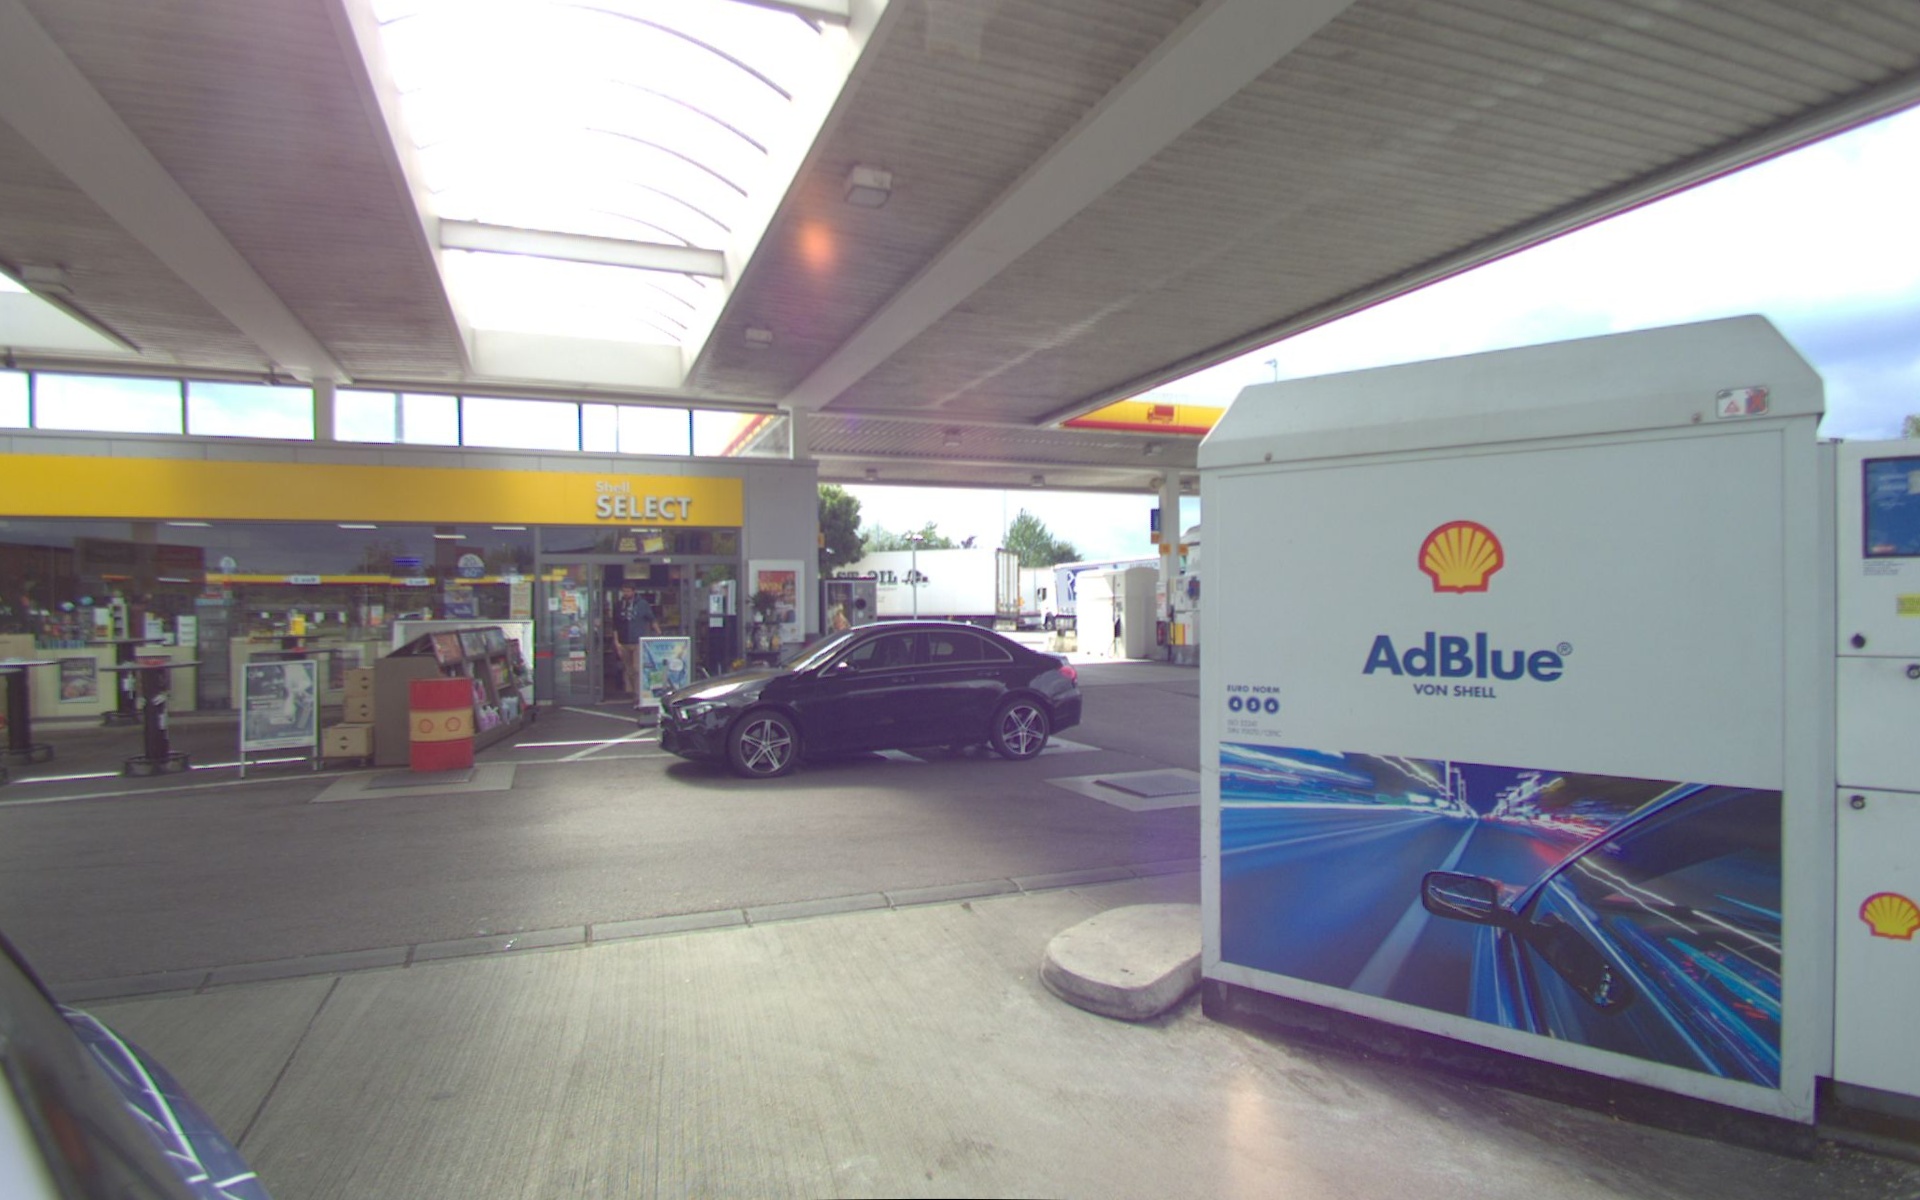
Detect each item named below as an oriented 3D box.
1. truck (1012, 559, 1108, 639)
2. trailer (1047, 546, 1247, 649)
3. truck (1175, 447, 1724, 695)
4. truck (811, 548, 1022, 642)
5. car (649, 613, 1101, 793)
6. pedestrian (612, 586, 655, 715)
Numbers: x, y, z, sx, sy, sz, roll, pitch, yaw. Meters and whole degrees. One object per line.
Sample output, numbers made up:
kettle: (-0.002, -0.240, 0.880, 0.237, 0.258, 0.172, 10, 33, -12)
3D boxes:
truck: (5.941, -0.052, 61.208, 3.333, 4.538, 6.249, -1, 0, -20)
trailer: (9.118, -0.102, 52.660, 3.294, 4.600, 14.397, -1, 0, -20)
truck: (9.668, -0.465, 23.089, 2.491, 4.069, 12.947, -1, 0, -22)
truck: (-2.090, -0.182, 46.827, 9.536, 4.036, 2.772, -1, 0, 25)
car: (-0.901, 0.943, 10.658, 4.394, 1.511, 1.785, -1, 0, -21)
pedestrian: (-4.997, 0.749, 15.471, 0.571, 1.920, 0.511, -1, 0, -22)
